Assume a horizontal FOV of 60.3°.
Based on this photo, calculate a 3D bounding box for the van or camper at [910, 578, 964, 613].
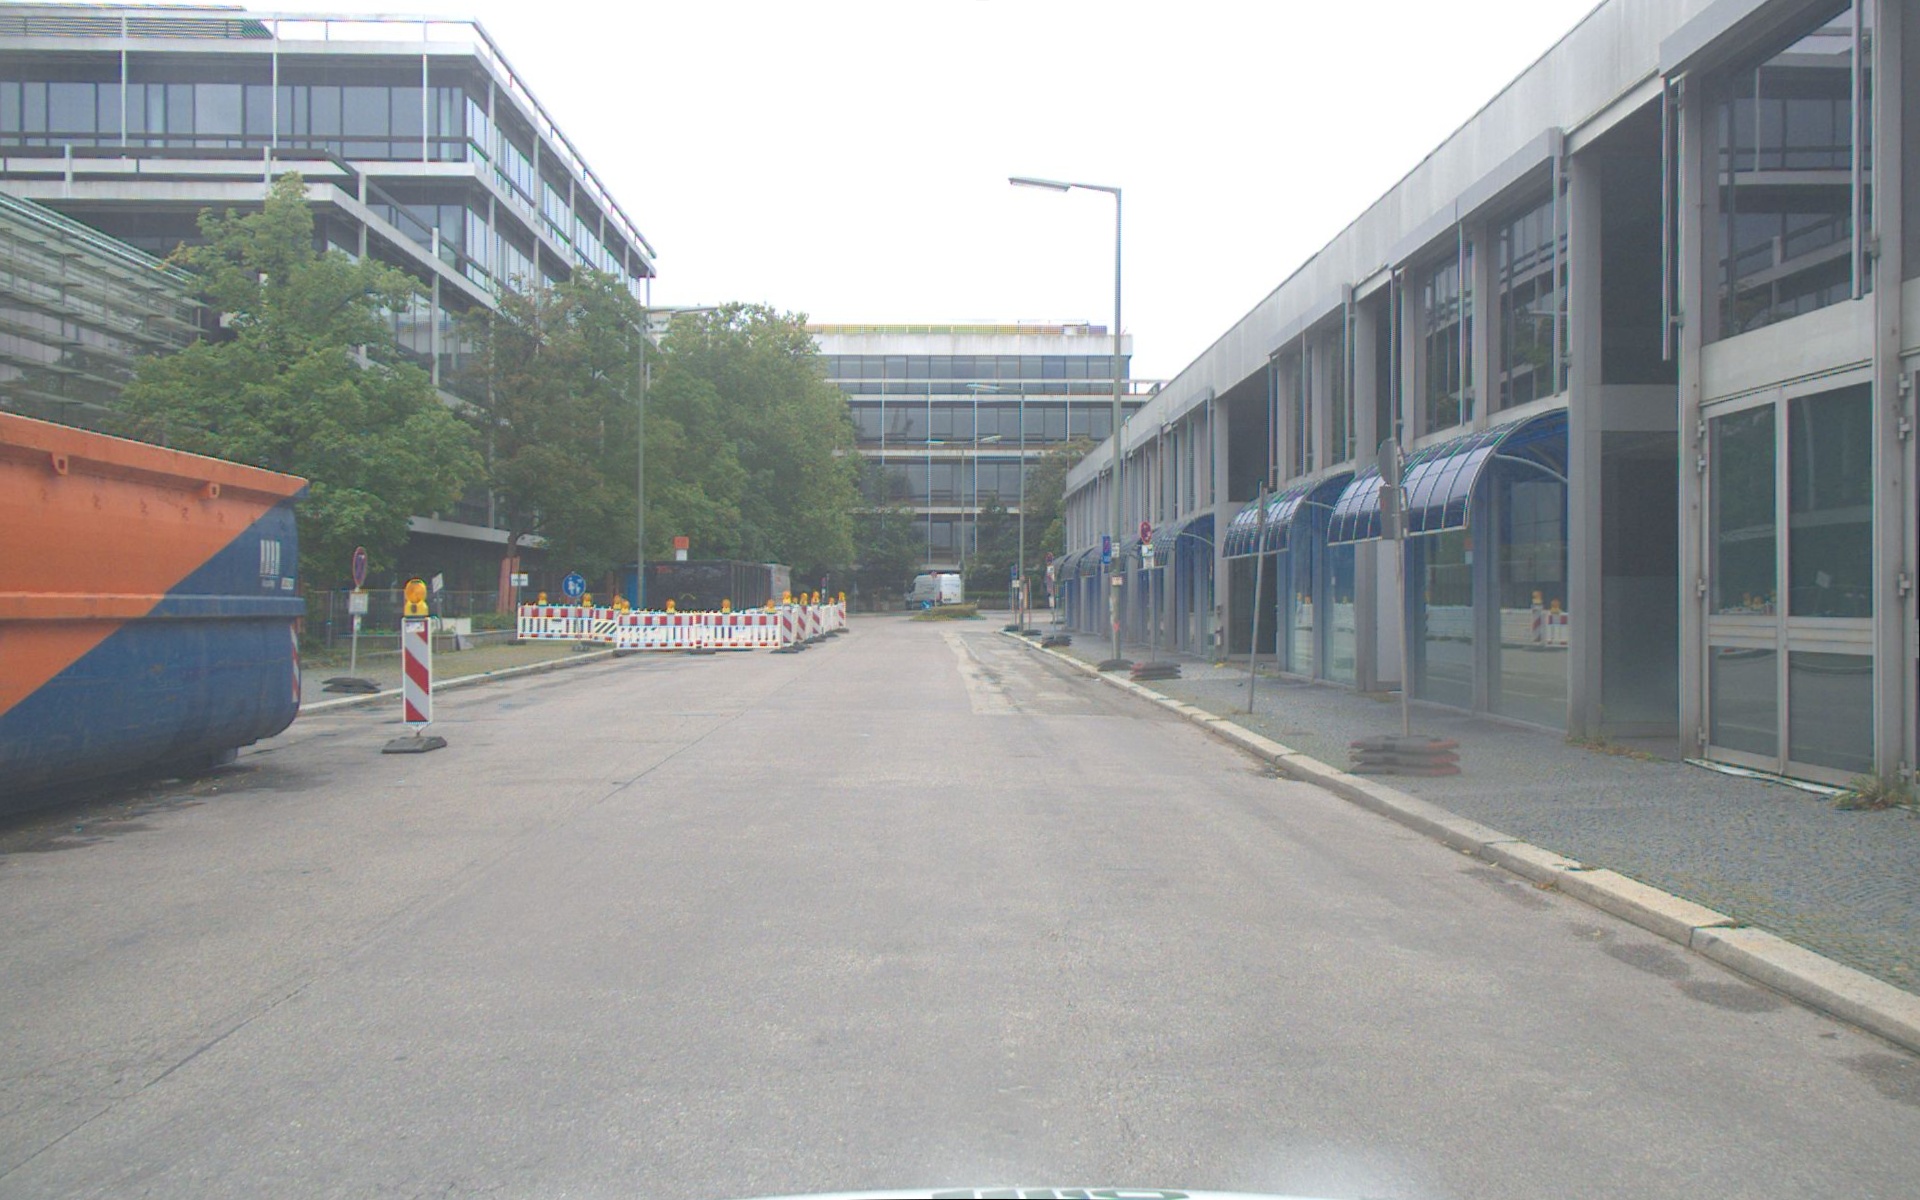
[{"bbox_3d":[-1.715,-0.363,122.504,2.060,2.535,5.024,0,0,-26],"label":"van or camper"}]

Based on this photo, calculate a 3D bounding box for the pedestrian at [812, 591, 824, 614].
[{"bbox_3d":[-10.415,0.200,121.110,0.730,1.706,0.678,0,0,-21],"label":"pedestrian"}]
